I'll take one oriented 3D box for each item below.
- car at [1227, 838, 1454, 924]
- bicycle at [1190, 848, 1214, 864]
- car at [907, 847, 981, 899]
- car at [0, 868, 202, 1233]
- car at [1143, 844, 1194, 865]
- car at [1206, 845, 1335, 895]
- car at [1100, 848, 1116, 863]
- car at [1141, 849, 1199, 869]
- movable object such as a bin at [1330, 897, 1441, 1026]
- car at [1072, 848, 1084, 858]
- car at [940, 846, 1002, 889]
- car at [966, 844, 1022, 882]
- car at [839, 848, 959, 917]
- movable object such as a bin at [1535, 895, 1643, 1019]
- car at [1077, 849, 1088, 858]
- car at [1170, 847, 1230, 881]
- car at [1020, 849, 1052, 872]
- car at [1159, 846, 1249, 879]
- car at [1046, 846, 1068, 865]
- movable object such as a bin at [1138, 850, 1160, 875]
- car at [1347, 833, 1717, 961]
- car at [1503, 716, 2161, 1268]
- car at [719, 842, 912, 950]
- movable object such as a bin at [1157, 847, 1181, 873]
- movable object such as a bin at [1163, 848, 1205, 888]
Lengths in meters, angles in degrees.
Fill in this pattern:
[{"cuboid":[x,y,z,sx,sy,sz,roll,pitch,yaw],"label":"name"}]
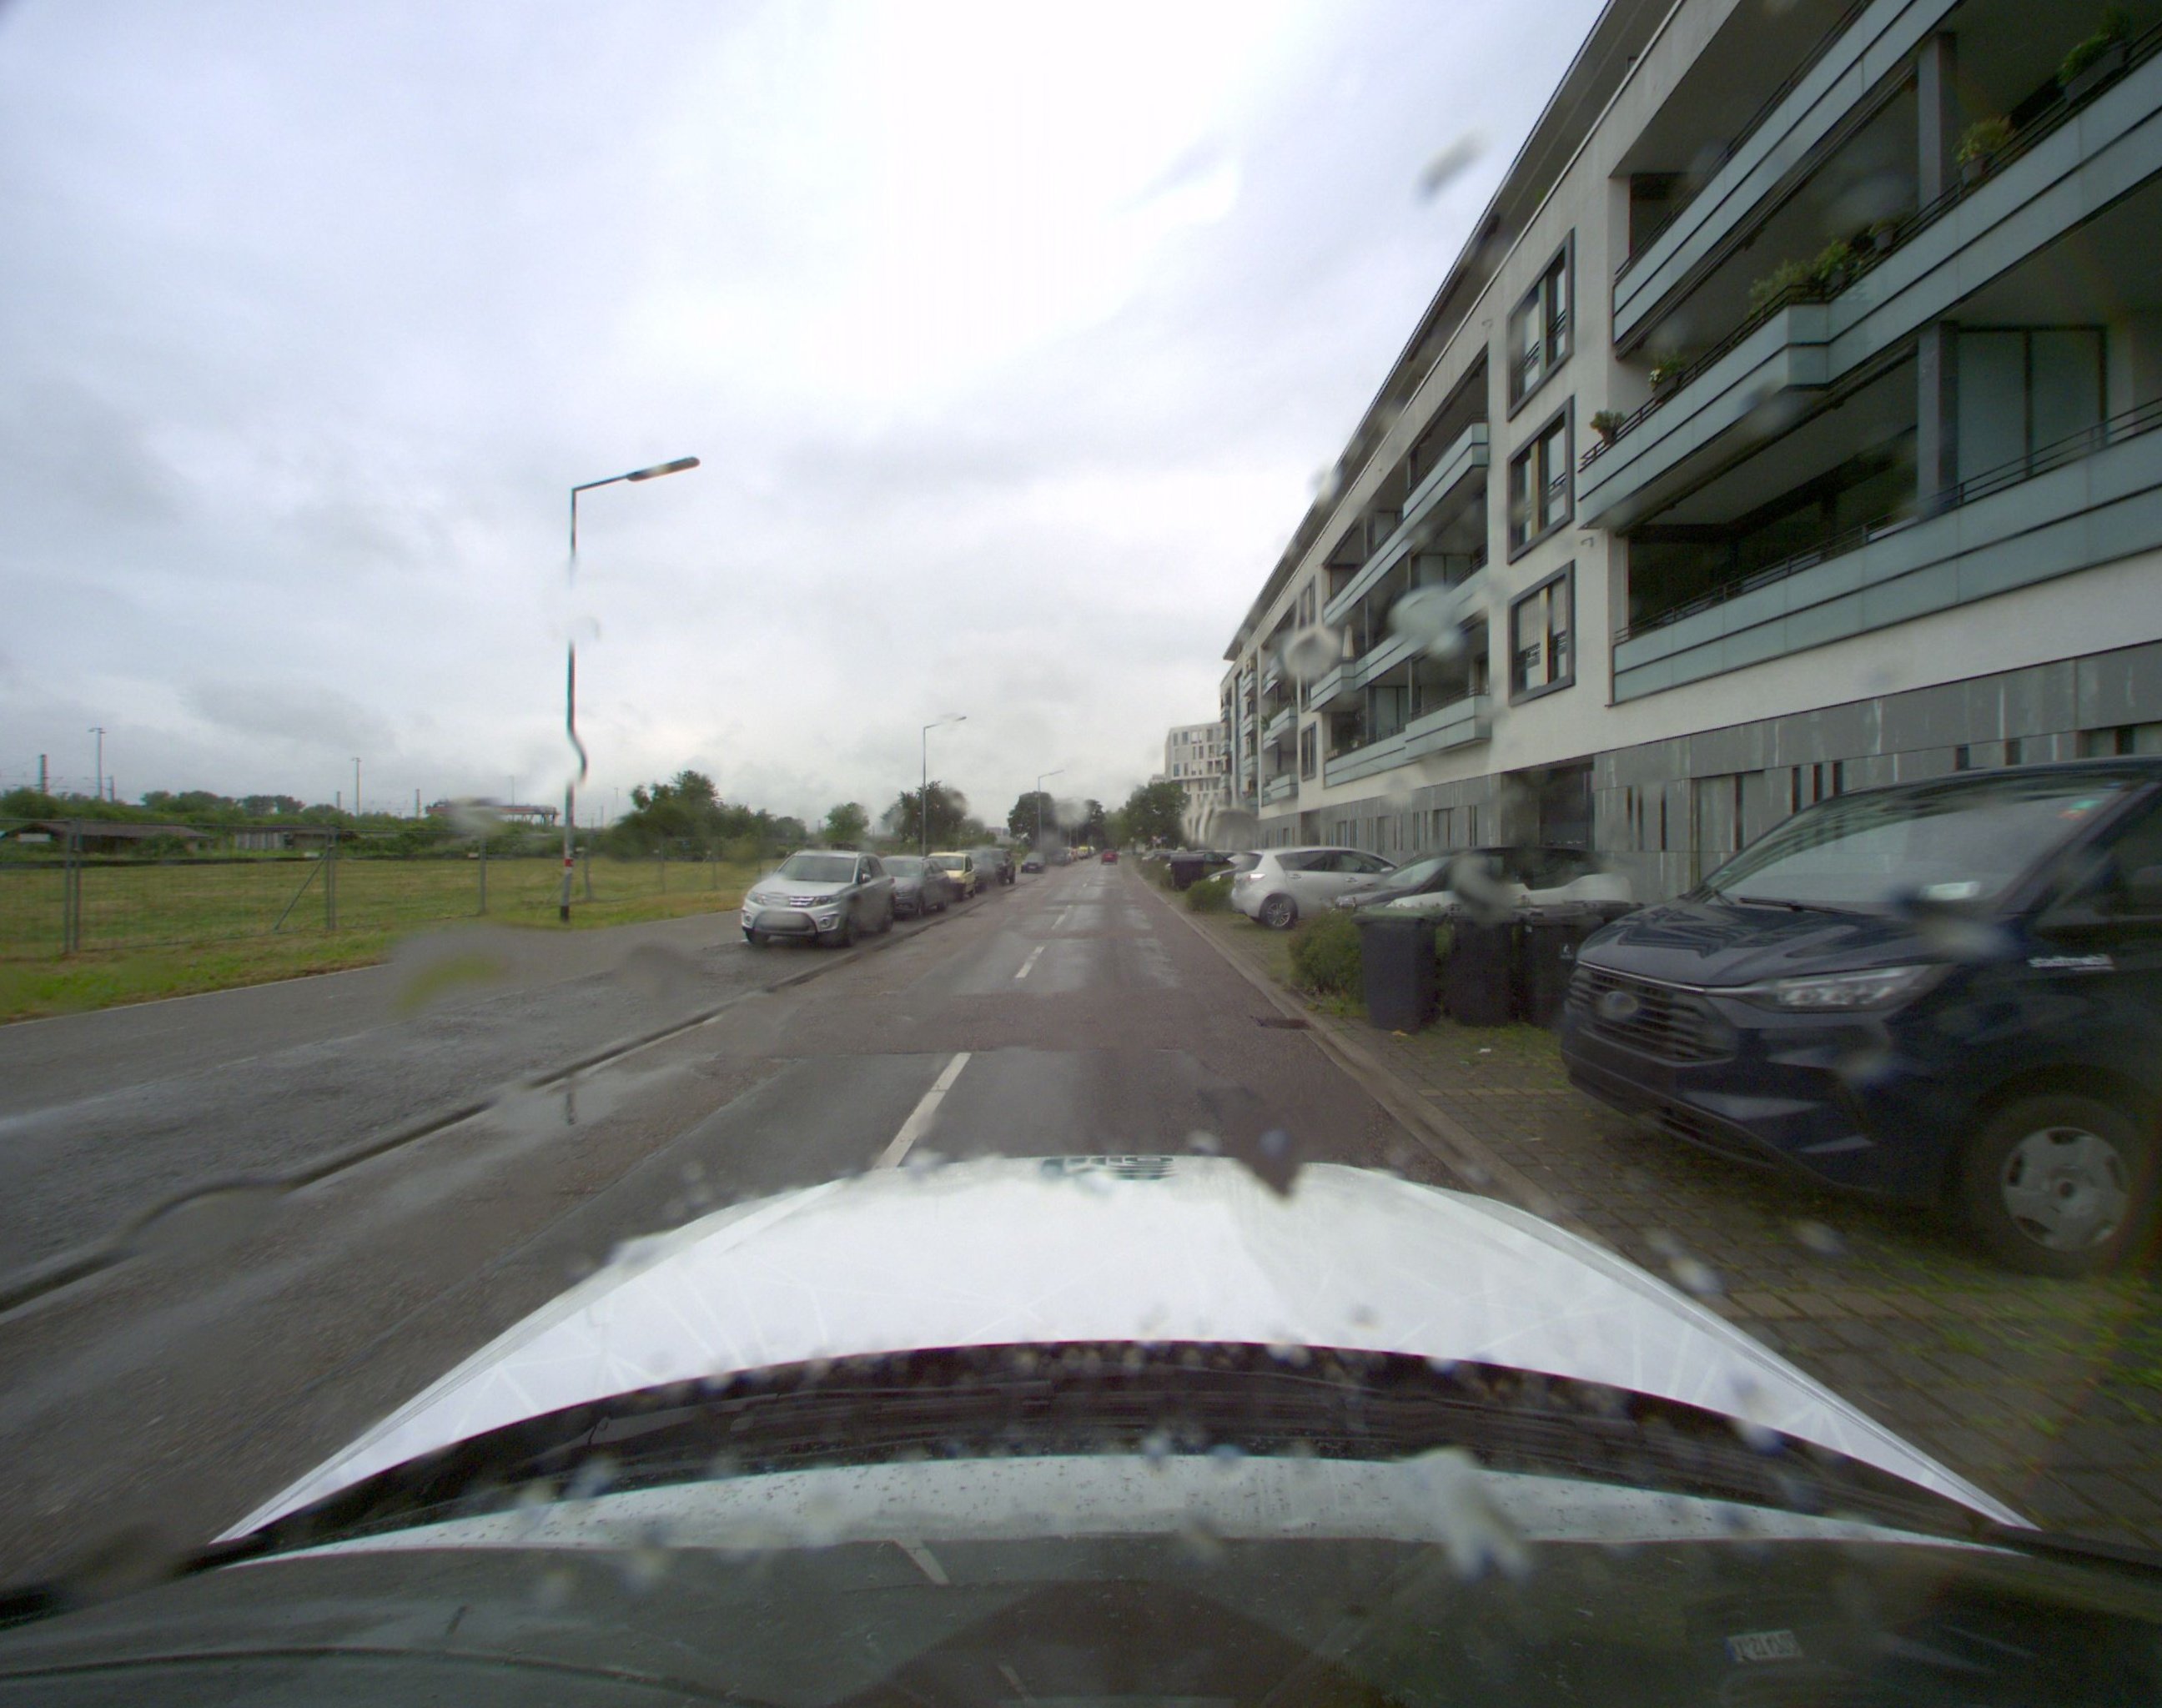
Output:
[{"cuboid":[5.260,0.540,16.882,4.193,1.644,1.687,-1,-1,0],"label":"car"},{"cuboid":[11.782,0.184,79.093,2.168,1.522,0.634,-1,0,22],"label":"bicycle"},{"cuboid":[-4.481,0.592,27.213,1.719,1.575,4.210,0,0,0],"label":"car"},{"cuboid":[-5.253,0.812,1.962,1.666,1.463,4.159,0,0,2],"label":"car"},{"cuboid":[7.346,0.017,68.930,4.075,1.623,1.966,-2,0,0],"label":"car"},{"cuboid":[6.124,0.498,26.591,3.830,1.491,1.764,-2,0,2],"label":"car"},{"cuboid":[3.048,0.127,92.659,1.750,1.706,4.001,0,0,1],"label":"car"},{"cuboid":[6.959,0.394,64.037,4.393,1.405,1.911,-2,0,1],"label":"car"},{"cuboid":[2.757,0.936,7.383,0.807,1.046,0.544,0,0,40],"label":"movable object such as a bin"},{"cuboid":[-0.497,-0.113,137.582,1.797,1.561,4.035,3,1,2],"label":"car"},{"cuboid":[-4.297,0.502,32.413,1.746,1.590,4.135,0,1,2],"label":"car"},{"cuboid":[-4.070,0.371,38.708,1.744,1.693,4.887,0,1,5],"label":"car"},{"cuboid":[-4.556,0.661,21.159,1.830,1.528,4.673,2,0,2],"label":"car"},{"cuboid":[4.714,0.925,7.596,0.536,1.046,0.818,0,0,3],"label":"movable object such as a bin"},{"cuboid":[0.303,-0.108,162.710,1.987,1.594,5.018,3,0,1],"label":"car"},{"cuboid":[5.641,0.471,38.788,2.619,1.506,1.205,-2,0,-5],"label":"car"},{"cuboid":[-3.267,0.440,59.873,1.840,1.561,4.154,3,0,2],"label":"car"},{"cuboid":[6.255,0.423,41.787,4.330,1.530,1.894,-2,0,1],"label":"car"},{"cuboid":[-2.444,0.120,84.319,1.948,1.901,4.997,1,0,2],"label":"car"},{"cuboid":[4.300,0.547,51.426,1.295,1.526,1.582,-2,0,2],"label":"movable object such as a bin"},{"cuboid":[6.069,0.542,11.291,4.165,1.483,1.749,-2,0,-2],"label":"car"},{"cuboid":[5.057,0.427,3.873,5.031,1.929,1.983,-2,0,1],"label":"car"},{"cuboid":[-4.717,0.648,15.393,1.846,1.607,4.990,3,0,1],"label":"car"},{"cuboid":[5.224,0.357,48.286,1.295,1.526,1.582,-1,0,2],"label":"movable object such as a bin"},{"cuboid":[4.083,0.535,32.288,1.490,1.493,1.156,-3,0,2],"label":"movable object such as a bin"}]
